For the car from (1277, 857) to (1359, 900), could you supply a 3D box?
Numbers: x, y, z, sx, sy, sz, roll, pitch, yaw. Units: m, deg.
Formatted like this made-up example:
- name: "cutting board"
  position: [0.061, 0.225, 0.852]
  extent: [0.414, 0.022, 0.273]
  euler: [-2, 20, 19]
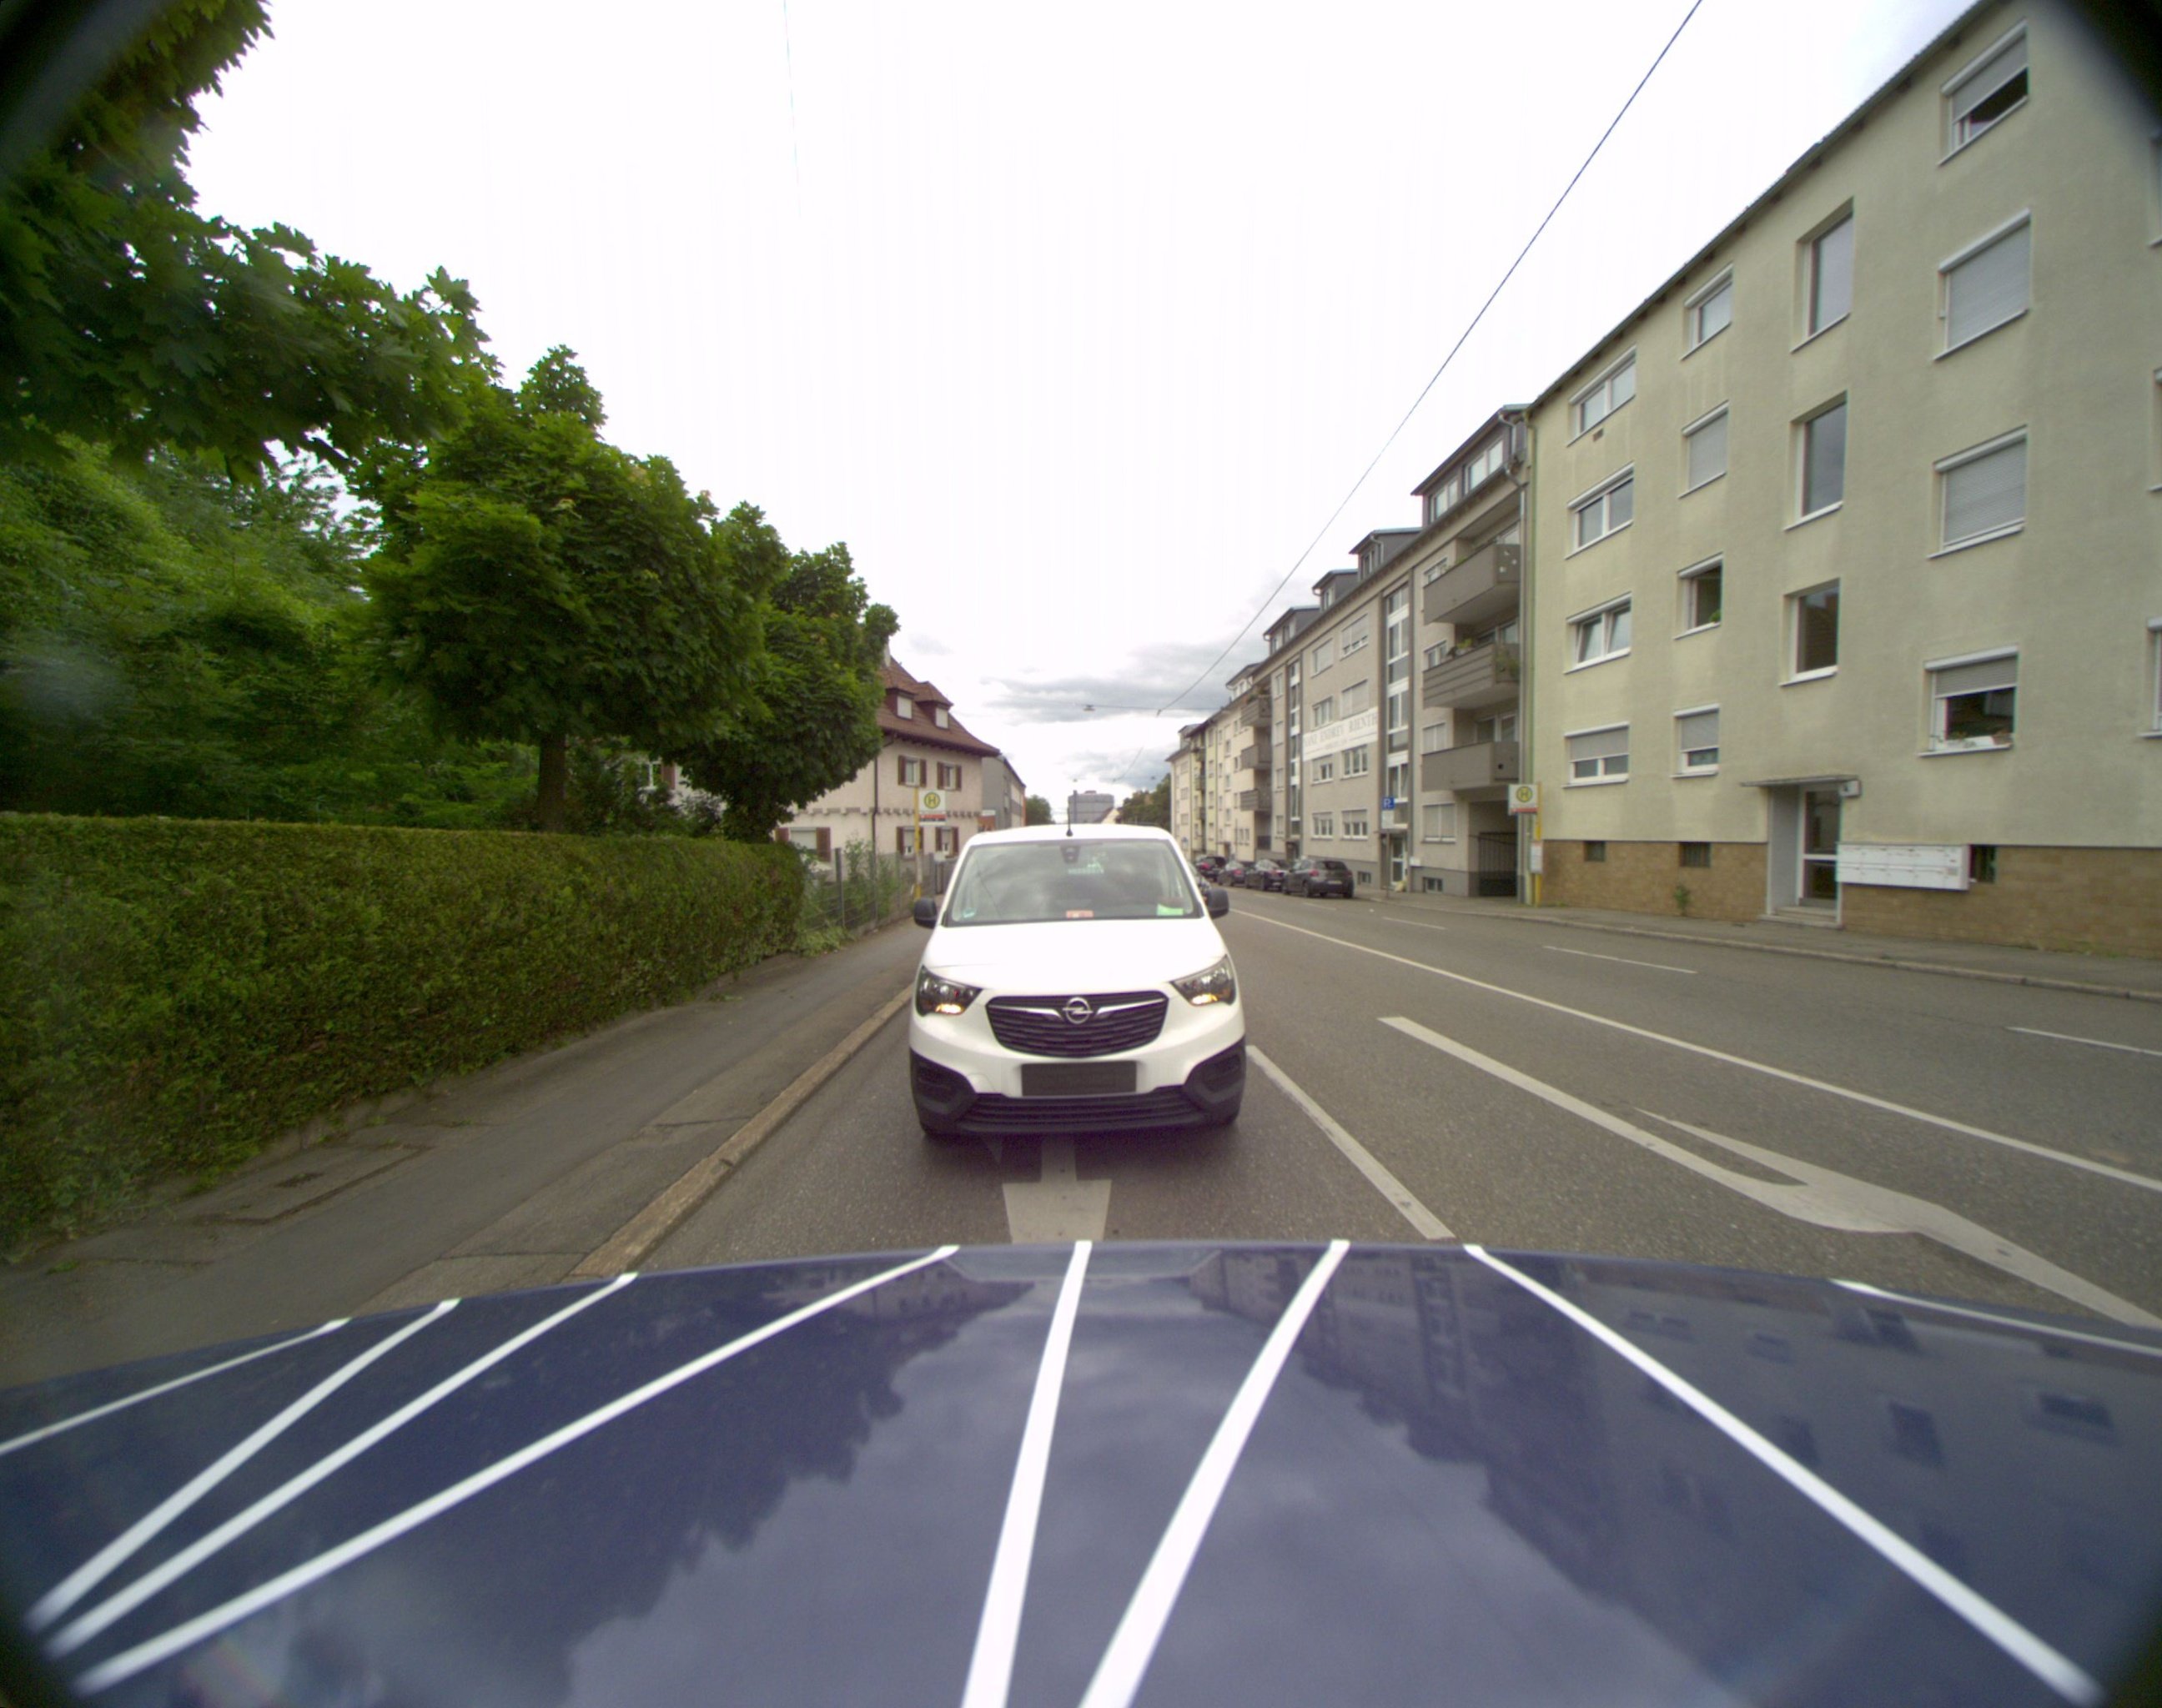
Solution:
- name: "car"
  position: [8.892, 0.867, 28.859]
  extent: [1.773, 1.428, 3.800]
  euler: [2, 0, -2]

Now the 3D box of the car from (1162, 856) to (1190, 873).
- name: "car"
  position: [8.198, 0.873, 65.986]
  extent: [1.875, 1.372, 4.307]
  euler: [2, 0, 0]

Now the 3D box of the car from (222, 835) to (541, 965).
- name: "car"
  position: [-12.567, 0.701, 13.865]
  extent: [1.994, 2.002, 4.008]
  euler: [-1, 0, 40]

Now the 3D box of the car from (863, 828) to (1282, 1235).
- name: "car"
  position: [-0.092, 0.776, 5.407]
  extent: [1.803, 1.736, 3.999]
  euler: [-3, 1, -2]

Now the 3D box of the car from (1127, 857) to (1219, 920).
- name: "car"
  position: [2.404, 0.865, 21.010]
  extent: [1.752, 1.446, 4.444]
  euler: [-2, 1, -3]

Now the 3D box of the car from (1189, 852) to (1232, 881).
- name: "car"
  position: [8.331, 0.750, 49.130]
  extent: [1.875, 1.743, 4.306]
  euler: [2, 1, -2]

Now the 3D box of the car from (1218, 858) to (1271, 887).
- name: "car"
  position: [8.501, 0.933, 39.858]
  extent: [1.772, 1.397, 4.307]
  euler: [0, 0, -1]
